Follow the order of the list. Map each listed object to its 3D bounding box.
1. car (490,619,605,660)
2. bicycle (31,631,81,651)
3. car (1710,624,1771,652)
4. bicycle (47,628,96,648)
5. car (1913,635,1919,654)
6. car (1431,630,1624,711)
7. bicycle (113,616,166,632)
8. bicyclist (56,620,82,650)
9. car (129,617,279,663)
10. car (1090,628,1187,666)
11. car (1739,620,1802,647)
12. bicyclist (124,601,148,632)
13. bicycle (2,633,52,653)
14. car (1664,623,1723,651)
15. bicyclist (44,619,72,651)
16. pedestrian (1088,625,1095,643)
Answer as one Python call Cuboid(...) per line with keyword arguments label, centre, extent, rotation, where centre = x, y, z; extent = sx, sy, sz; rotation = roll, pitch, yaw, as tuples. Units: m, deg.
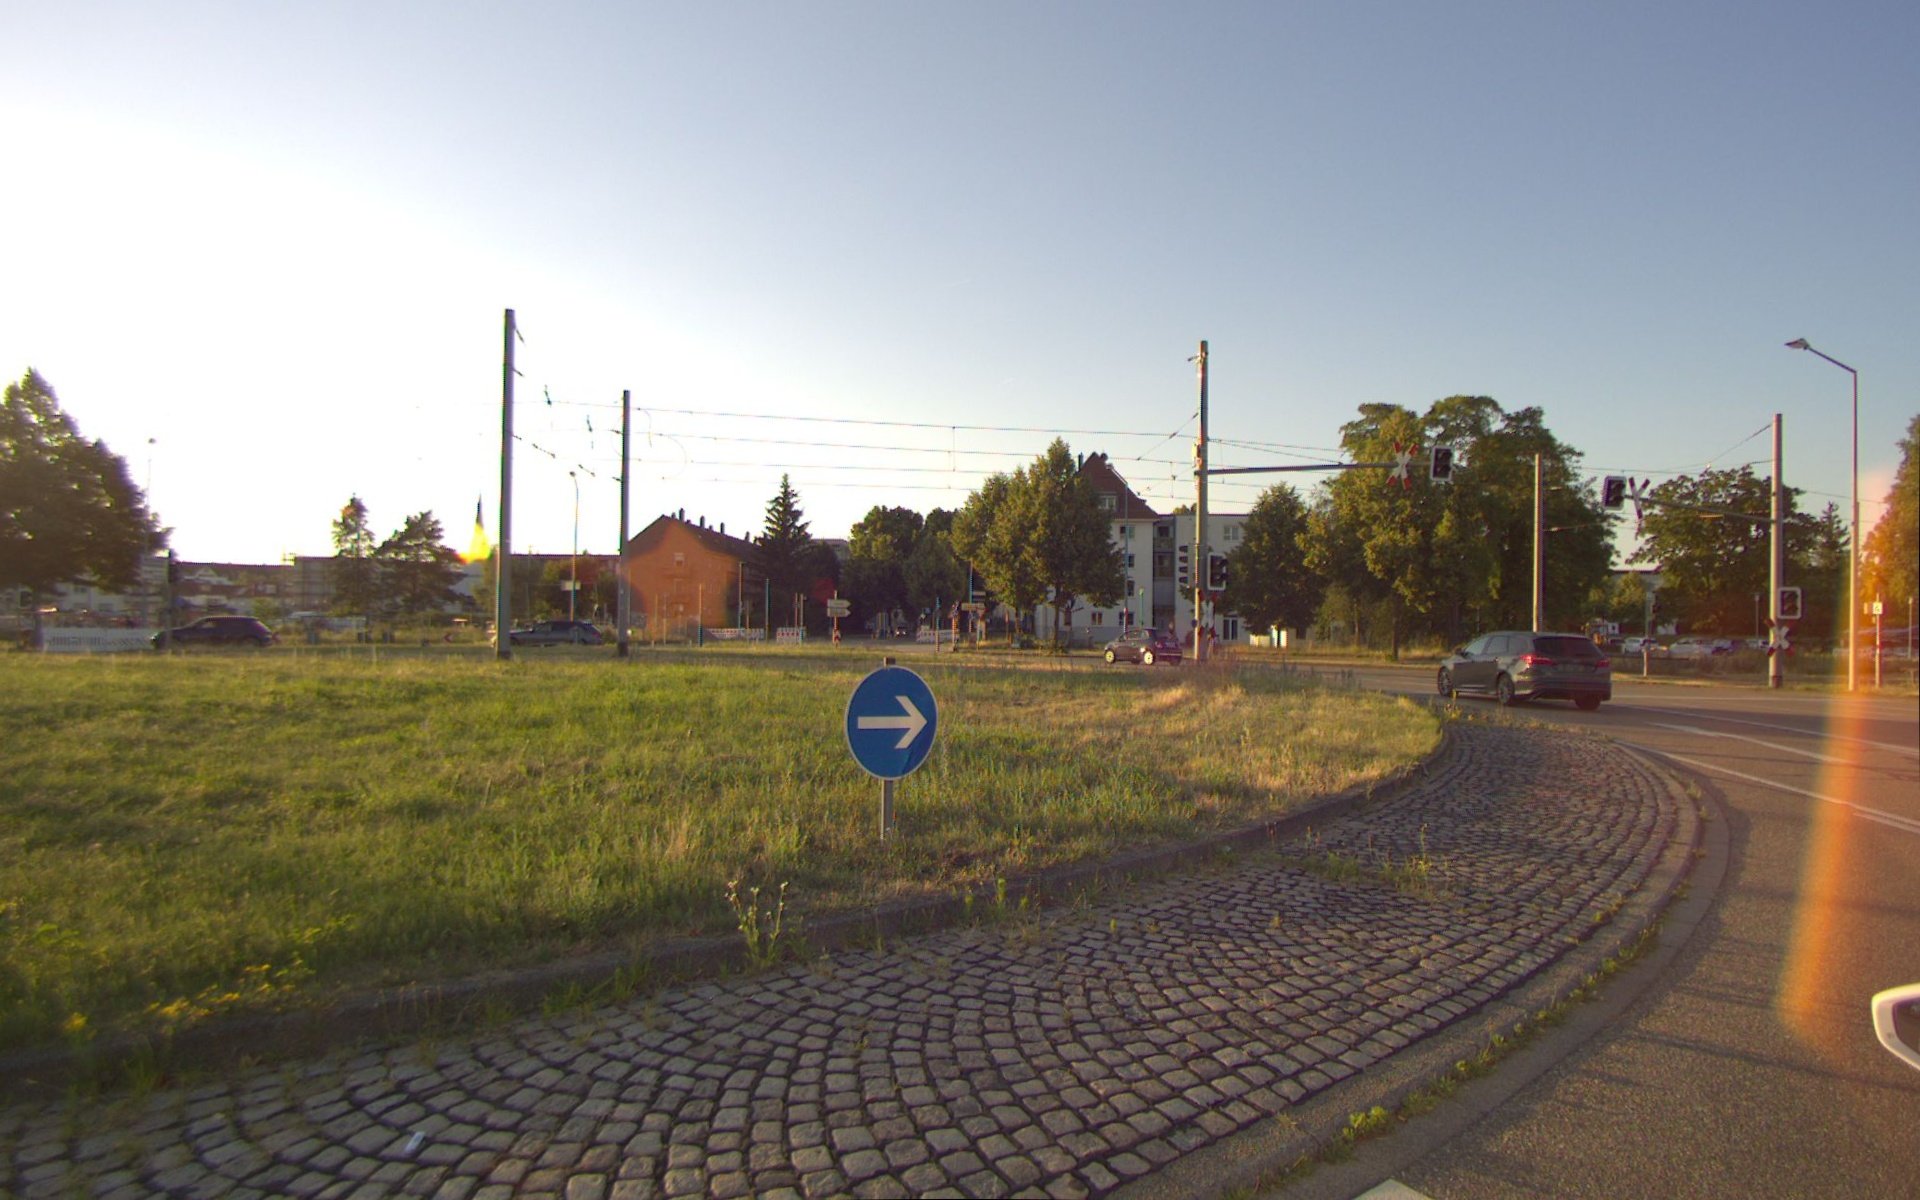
Cuboid(label="car", centre=(-18.265, 1.717, 44.699), extent=(4.520, 1.771, 1.746), rotation=(0, -1, -15))
Cuboid(label="bicycle", centre=(-46.763, 2.123, 51.972), extent=(0.539, 0.993, 1.842), rotation=(0, -1, 25))
Cuboid(label="car", centre=(63.042, 3.027, 81.234), extent=(1.960, 2.126, 4.001), rotation=(1, -1, 2))
Cuboid(label="bicycle", centre=(-45.624, 1.938, 51.599), extent=(0.527, 0.993, 1.842), rotation=(0, -1, 25))
Cuboid(label="car", centre=(79.013, 3.615, 80.294), extent=(1.960, 1.571, 4.001), rotation=(1, -1, 1))
Cuboid(label="car", centre=(11.484, 1.366, 20.688), extent=(1.716, 1.486, 4.136), rotation=(0, -1, 2))
Cuboid(label="bicycle", centre=(-43.786, 1.301, 53.620), extent=(2.102, 0.857, 0.510), rotation=(0, -1, -19))
Cuboid(label="bicyclist", centre=(-45.686, 1.807, 51.493), extent=(0.581, 1.526, 0.814), rotation=(0, -1, 25))
Cuboid(label="car", centre=(-30.037, 1.564, 40.099), extent=(4.542, 1.771, 1.738), rotation=(1, -1, -30))
Cuboid(label="car", centre=(7.181, 1.863, 40.798), extent=(1.729, 1.465, 4.105), rotation=(1, -1, -28))
Cuboid(label="car", centre=(65.633, 2.696, 81.381), extent=(1.960, 2.126, 4.001), rotation=(1, -1, 2))
Cuboid(label="bicyclist", centre=(-43.905, 0.880, 53.515), extent=(0.786, 1.655, 0.693), rotation=(0, -1, -19))
Cuboid(label="bicycle", centre=(-48.420, 2.220, 52.163), extent=(0.539, 0.993, 1.842), rotation=(0, -1, 25))
Cuboid(label="car", centre=(59.487, 2.962, 81.537), extent=(1.960, 2.126, 4.001), rotation=(1, -1, 2))
Cuboid(label="bicyclist", centre=(-46.683, 1.812, 52.008), extent=(0.799, 1.662, 0.814), rotation=(0, -1, 25))
Cuboid(label="pedestrian", centre=(10.326, 2.641, 78.846), extent=(0.537, 1.392, 0.358), rotation=(1, -1, -3))
